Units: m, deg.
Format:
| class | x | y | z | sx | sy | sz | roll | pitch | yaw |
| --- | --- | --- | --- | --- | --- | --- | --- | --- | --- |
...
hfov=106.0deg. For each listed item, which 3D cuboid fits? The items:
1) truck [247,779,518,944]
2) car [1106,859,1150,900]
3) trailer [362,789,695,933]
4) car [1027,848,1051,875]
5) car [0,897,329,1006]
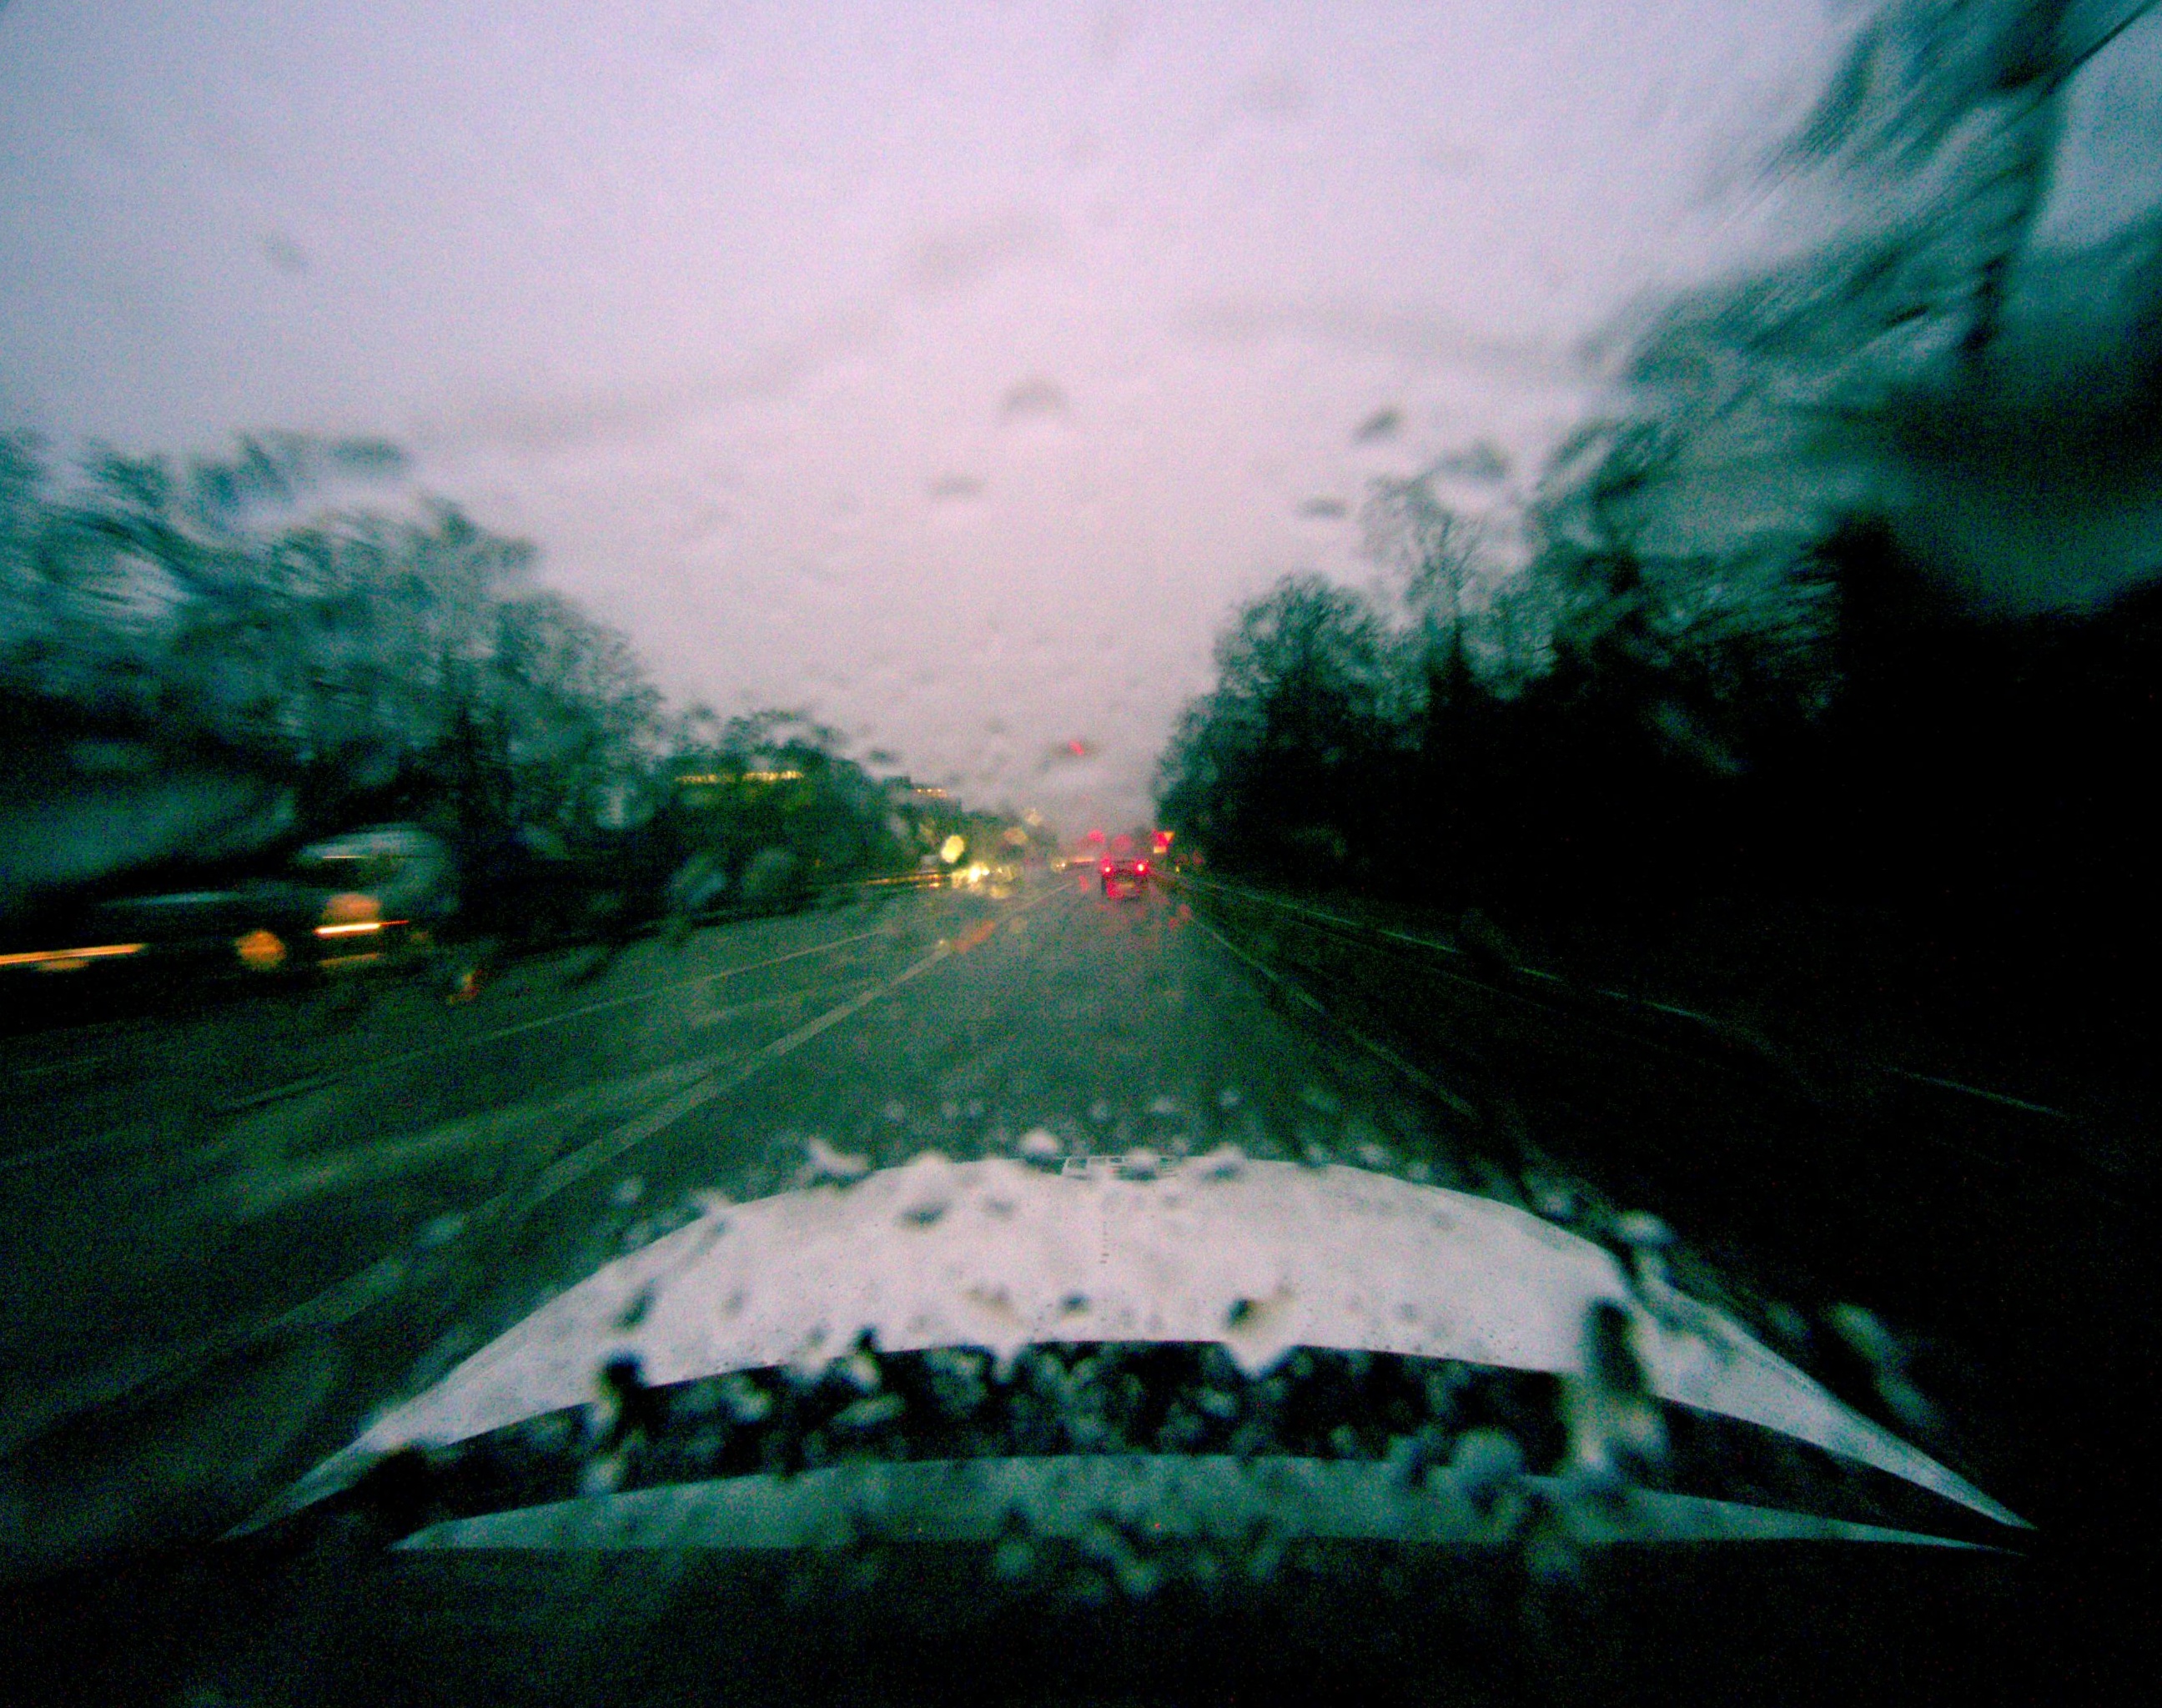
| class | x | y | z | sx | sy | sz | roll | pitch | yaw |
| --- | --- | --- | --- | --- | --- | --- | --- | --- | --- |
| truck | -22.930 | 0.243 | 27.283 | 3.471 | 4.847 | 6.043 | -1 | 0 | 7 |
| car | 1.716 | 0.902 | 30.288 | 1.521 | 1.416 | 3.481 | -1 | 0 | 2 |
| trailer | -22.006 | 0.262 | 34.376 | 3.470 | 4.847 | 13.507 | -1 | 0 | 7 |
| car | -3.898 | 0.685 | 76.091 | 1.994 | 2.453 | 4.000 | -1 | 0 | 0 |
| car | -17.139 | 1.727 | 15.439 | 1.691 | 1.565 | 4.050 | -2 | 0 | 8 |
